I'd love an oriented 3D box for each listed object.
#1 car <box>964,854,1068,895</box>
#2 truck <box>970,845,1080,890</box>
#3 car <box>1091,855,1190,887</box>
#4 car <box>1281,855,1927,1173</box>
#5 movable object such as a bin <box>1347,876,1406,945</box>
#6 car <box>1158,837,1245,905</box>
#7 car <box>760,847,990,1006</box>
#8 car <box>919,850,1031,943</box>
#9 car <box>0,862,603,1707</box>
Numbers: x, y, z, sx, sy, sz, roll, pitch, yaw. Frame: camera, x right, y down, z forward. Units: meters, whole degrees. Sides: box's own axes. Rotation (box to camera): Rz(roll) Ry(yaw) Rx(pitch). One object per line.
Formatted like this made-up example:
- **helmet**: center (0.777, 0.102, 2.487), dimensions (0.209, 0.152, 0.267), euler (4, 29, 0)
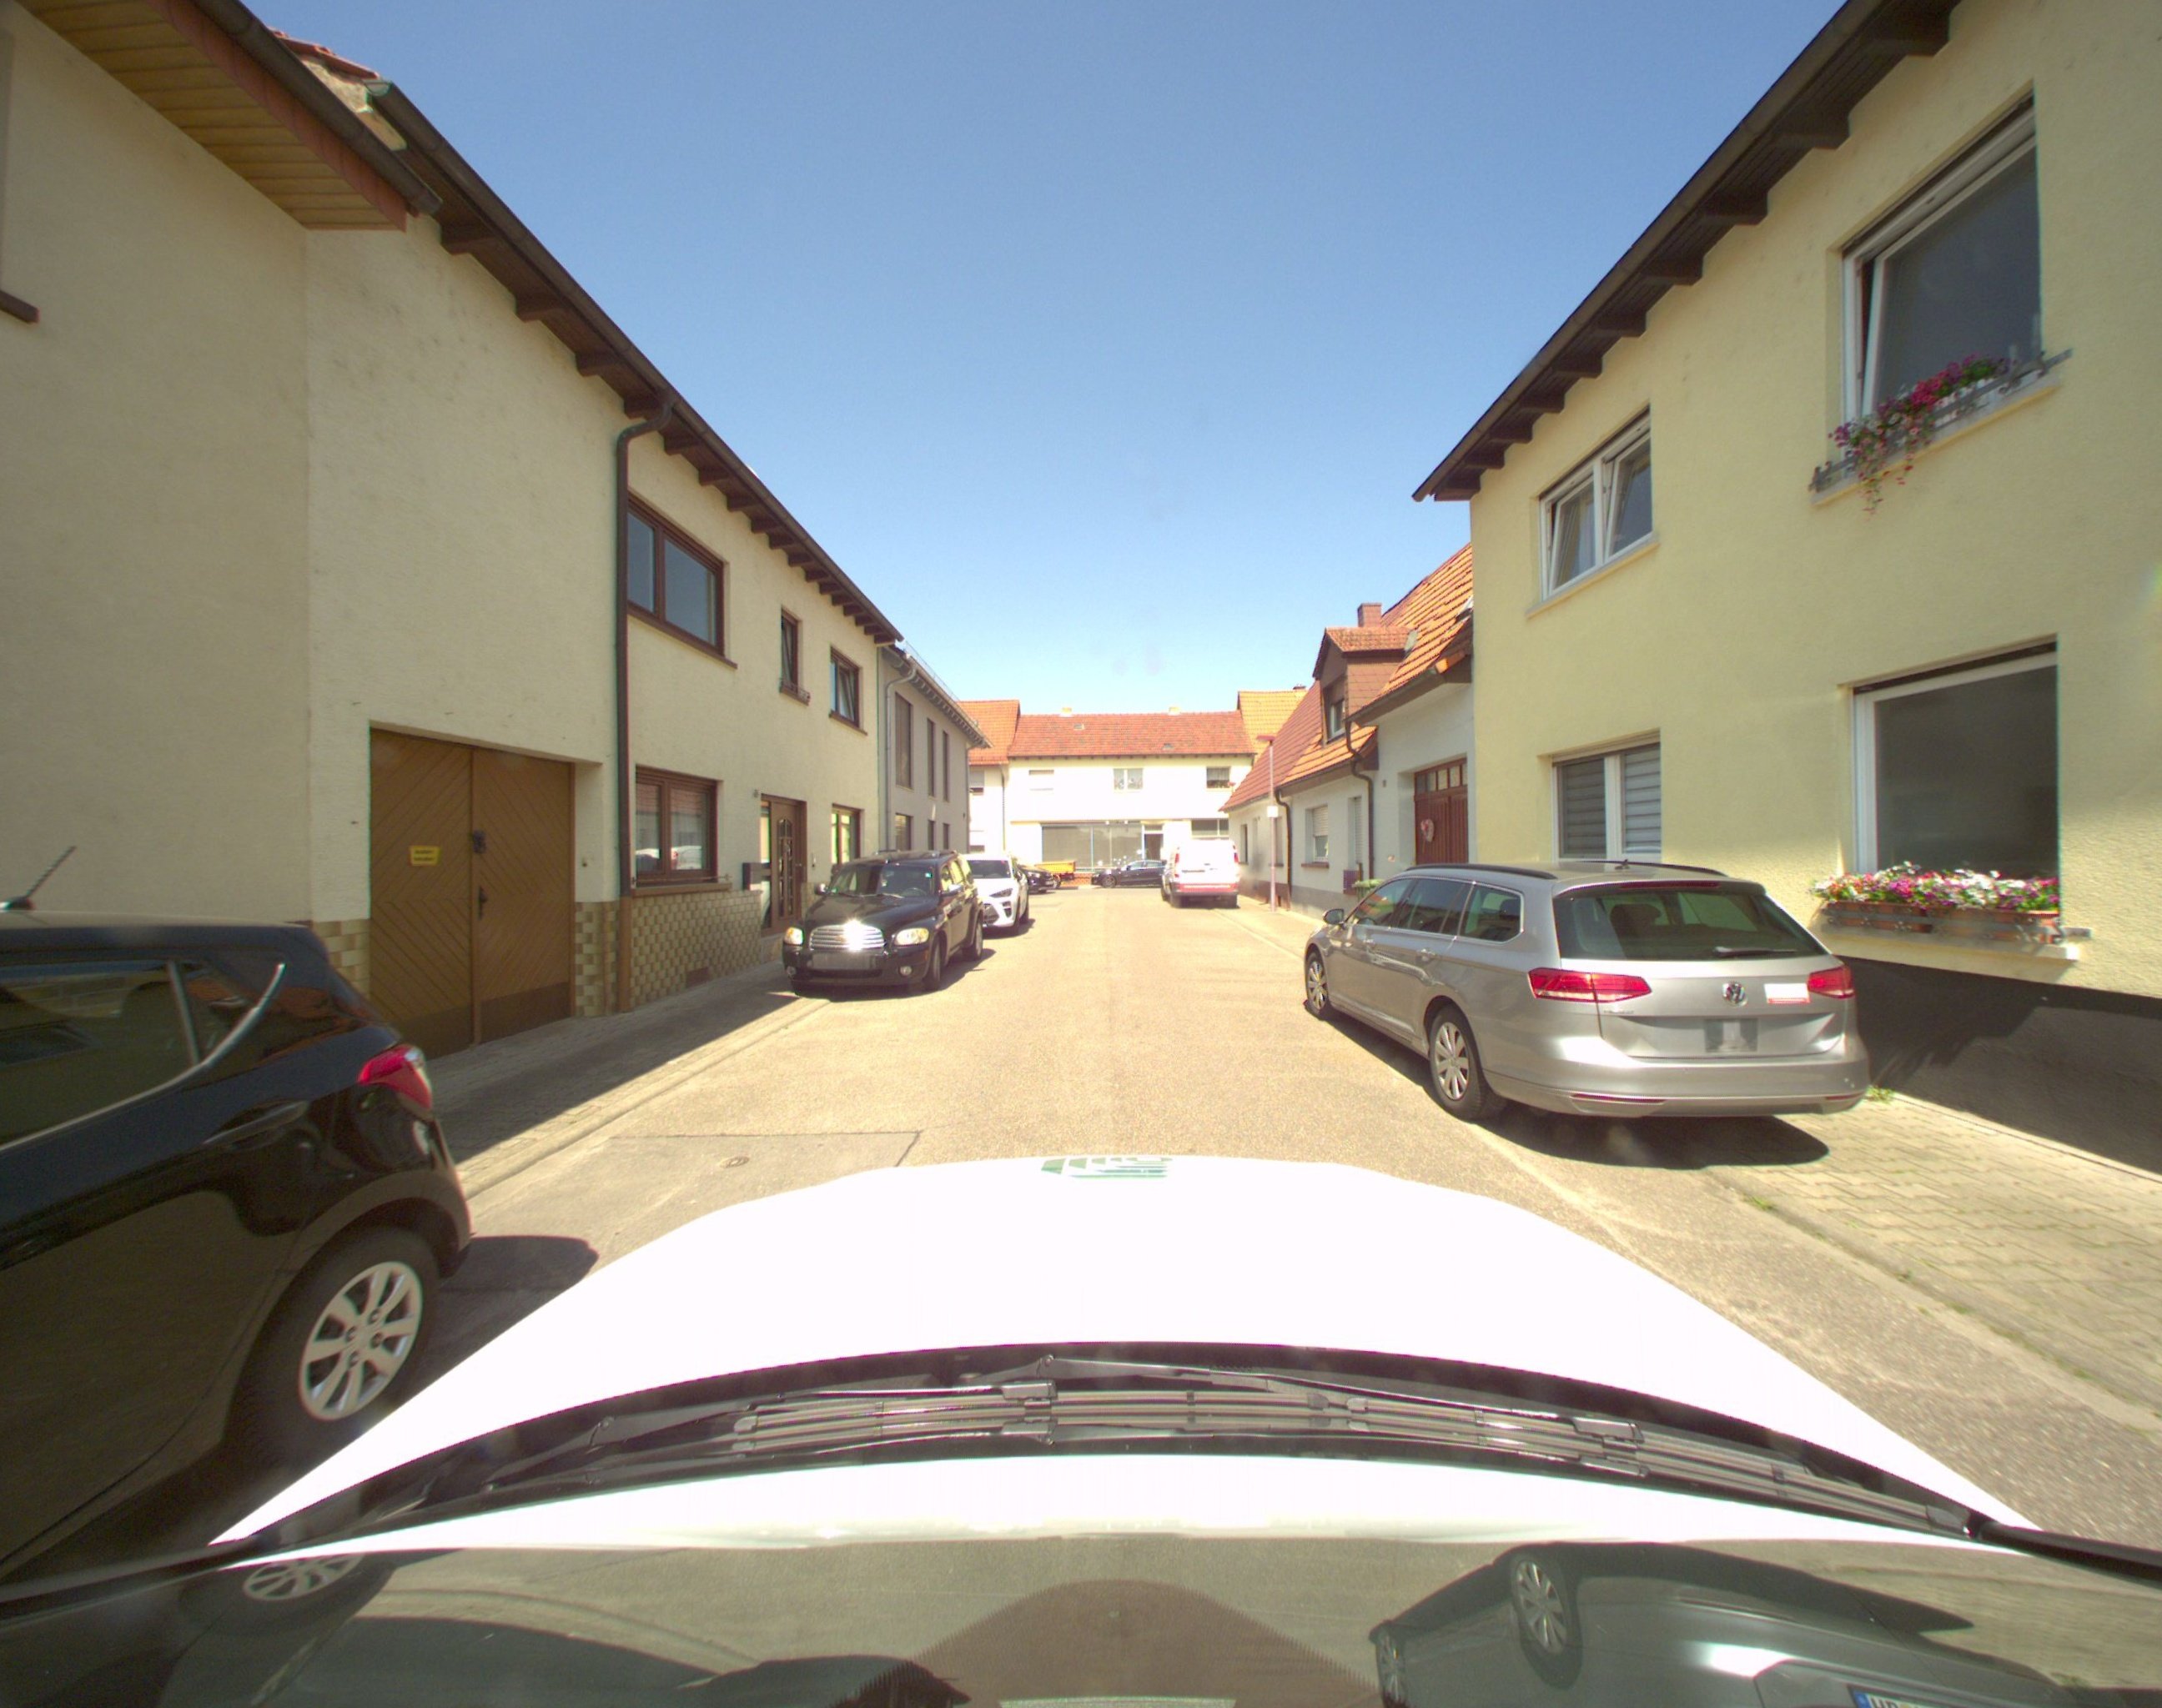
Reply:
- **car**: center (-2.772, 0.883, 34.245), dimensions (4.225, 1.583, 1.774), euler (-2, 0, 39)
- **truck**: center (-2.634, 0.641, 39.091), dimensions (5.044, 2.014, 2.190), euler (-1, -1, 1)
- **car**: center (2.806, 0.825, 39.024), dimensions (4.601, 1.394, 1.927), euler (-1, -3, 0)
- **car**: center (2.982, 0.741, 6.119), dimensions (1.832, 1.448, 4.776), euler (0, 0, 0)
- **movable object such as a bin**: center (4.837, 0.910, 13.371), dimensions (0.656, 1.071, 0.813), euler (-1, 0, 0)
- **car**: center (3.499, 0.478, 24.649), dimensions (2.005, 1.839, 5.267), euler (0, 0, 2)
- **car**: center (-2.396, 0.768, 10.563), dimensions (1.715, 1.615, 3.992), euler (-2, 0, 3)
- **car**: center (-2.061, 0.782, 17.004), dimensions (1.769, 1.615, 4.347), euler (-2, 0, -1)
- **car**: center (-2.674, 0.820, 1.116), dimensions (1.634, 1.537, 3.942), euler (-2, 0, 0)
